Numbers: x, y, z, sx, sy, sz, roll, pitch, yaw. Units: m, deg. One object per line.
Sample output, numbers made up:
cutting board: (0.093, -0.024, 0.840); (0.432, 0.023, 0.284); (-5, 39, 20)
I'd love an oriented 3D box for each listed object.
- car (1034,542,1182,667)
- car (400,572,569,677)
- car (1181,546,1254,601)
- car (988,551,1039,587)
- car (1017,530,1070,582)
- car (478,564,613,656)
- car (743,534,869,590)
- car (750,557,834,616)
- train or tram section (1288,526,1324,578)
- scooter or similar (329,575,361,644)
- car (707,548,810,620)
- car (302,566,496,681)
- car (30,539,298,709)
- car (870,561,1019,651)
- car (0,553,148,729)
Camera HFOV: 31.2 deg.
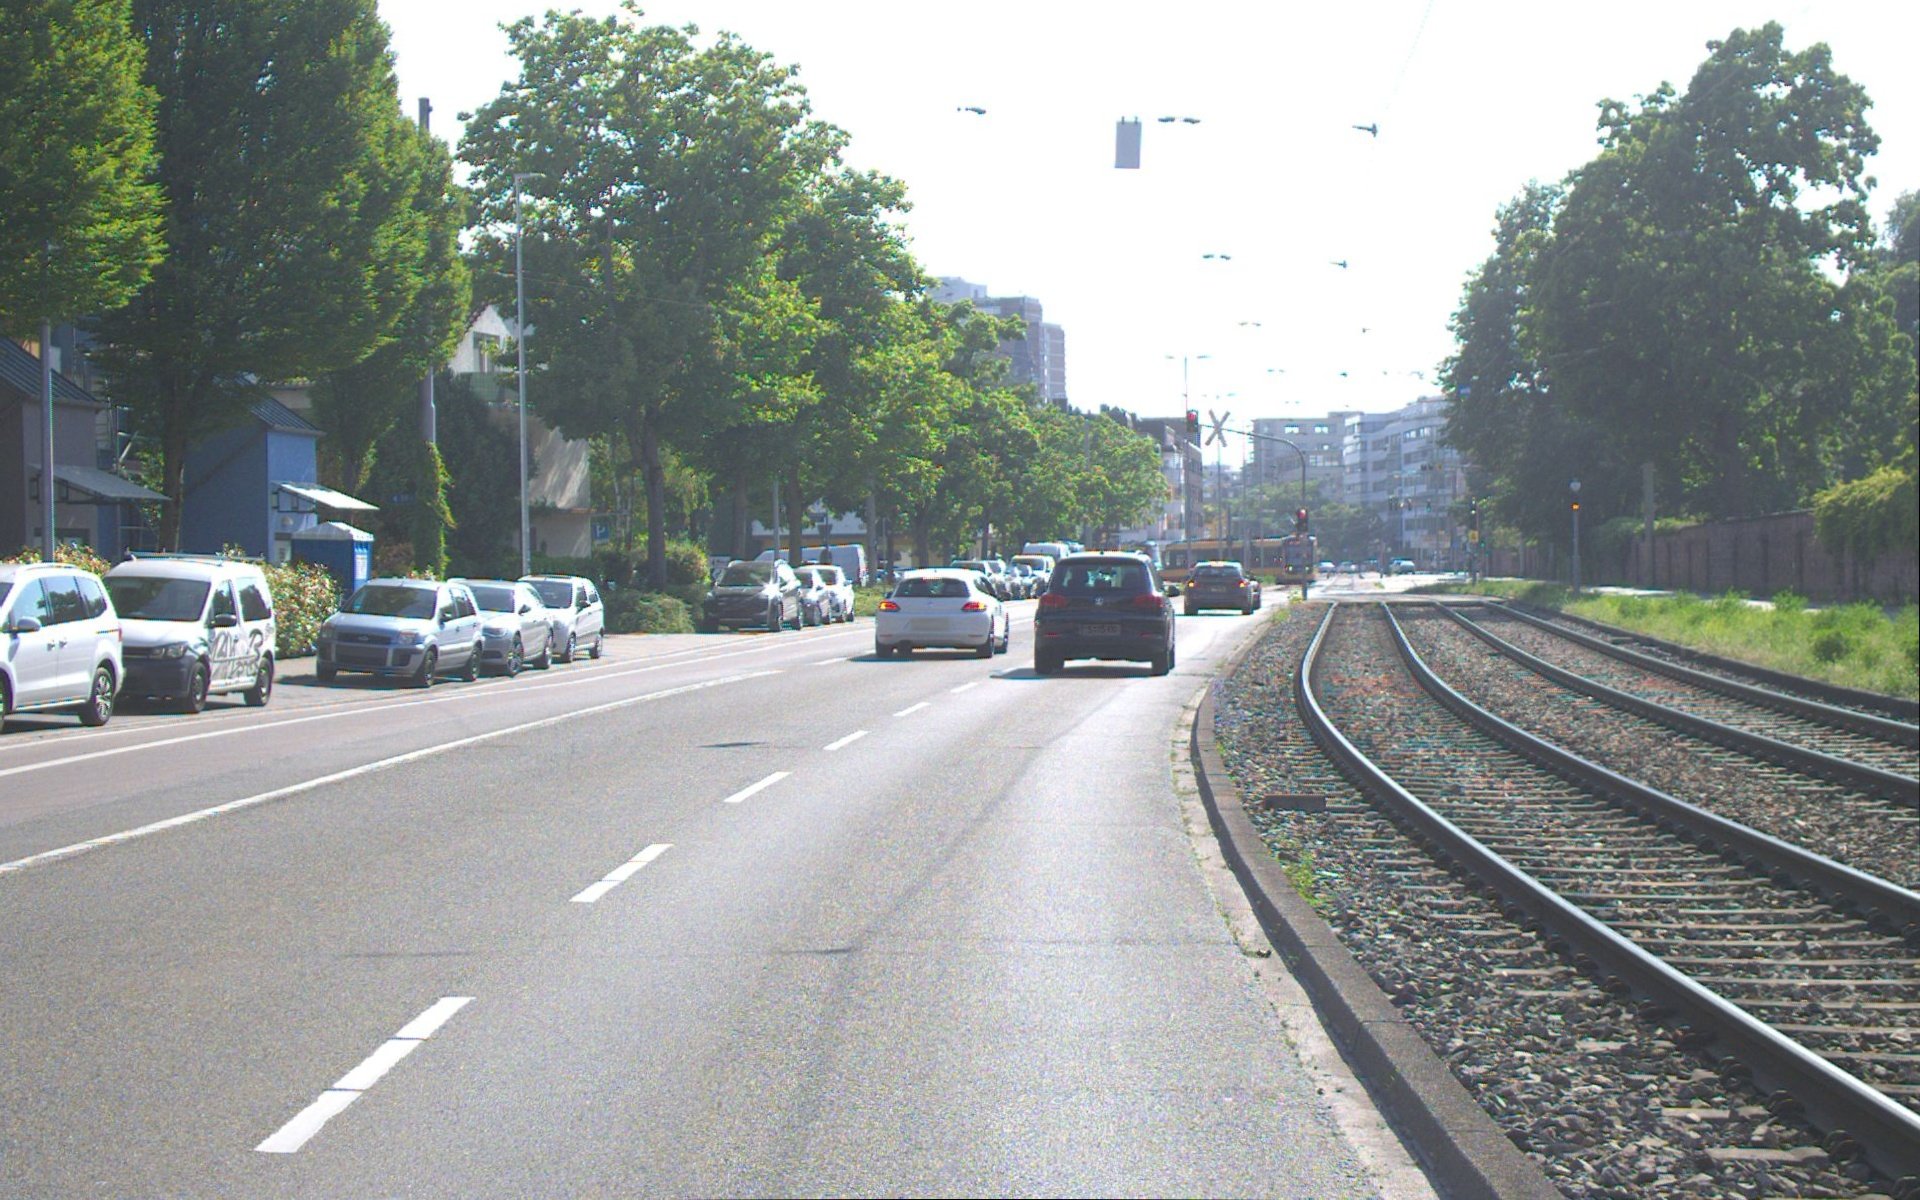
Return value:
car: (2.077, 0.036, 47.201); (1.812, 1.639, 3.999); (0, 1, 6)
car: (-7.781, 0.369, 56.614); (1.749, 1.505, 4.755); (4, 1, 4)
car: (7.042, -0.746, 93.776); (1.812, 1.444, 3.999); (1, 1, 6)
car: (2.340, -1.355, 149.404); (1.732, 1.445, 3.734); (-1, 1, 8)
car: (3.946, -2.081, 161.279); (1.864, 2.339, 4.983); (-1, 1, 8)
car: (-7.446, 0.155, 62.060); (1.601, 1.489, 3.508); (4, 1, 6)
car: (-6.968, -1.721, 155.773); (5.377, 2.415, 2.087); (-1, 1, 7)
car: (-4.318, -0.357, 88.988); (1.677, 1.463, 3.968); (-1, 1, 4)
train or tram section: (24.652, -3.406, 244.502); (2.327, 3.558, 8.898); (-1, 1, 7)
scooter or similar: (-10.548, 0.155, 58.977); (0.294, 1.150, 1.043); (-1, 1, 2)
car: (-4.855, -0.410, 83.308); (1.712, 1.688, 4.421); (-1, 1, 7)
car: (-8.395, 0.317, 51.790); (1.763, 1.533, 3.980); (4, 1, 7)
car: (-9.590, 0.236, 41.789); (1.763, 1.839, 4.579); (4, 1, 5)
car: (-0.206, 0.071, 54.188); (1.865, 1.343, 3.999); (0, 1, 7)
car: (-10.057, 0.376, 35.580); (1.669, 1.695, 4.823); (1, 1, 6)
